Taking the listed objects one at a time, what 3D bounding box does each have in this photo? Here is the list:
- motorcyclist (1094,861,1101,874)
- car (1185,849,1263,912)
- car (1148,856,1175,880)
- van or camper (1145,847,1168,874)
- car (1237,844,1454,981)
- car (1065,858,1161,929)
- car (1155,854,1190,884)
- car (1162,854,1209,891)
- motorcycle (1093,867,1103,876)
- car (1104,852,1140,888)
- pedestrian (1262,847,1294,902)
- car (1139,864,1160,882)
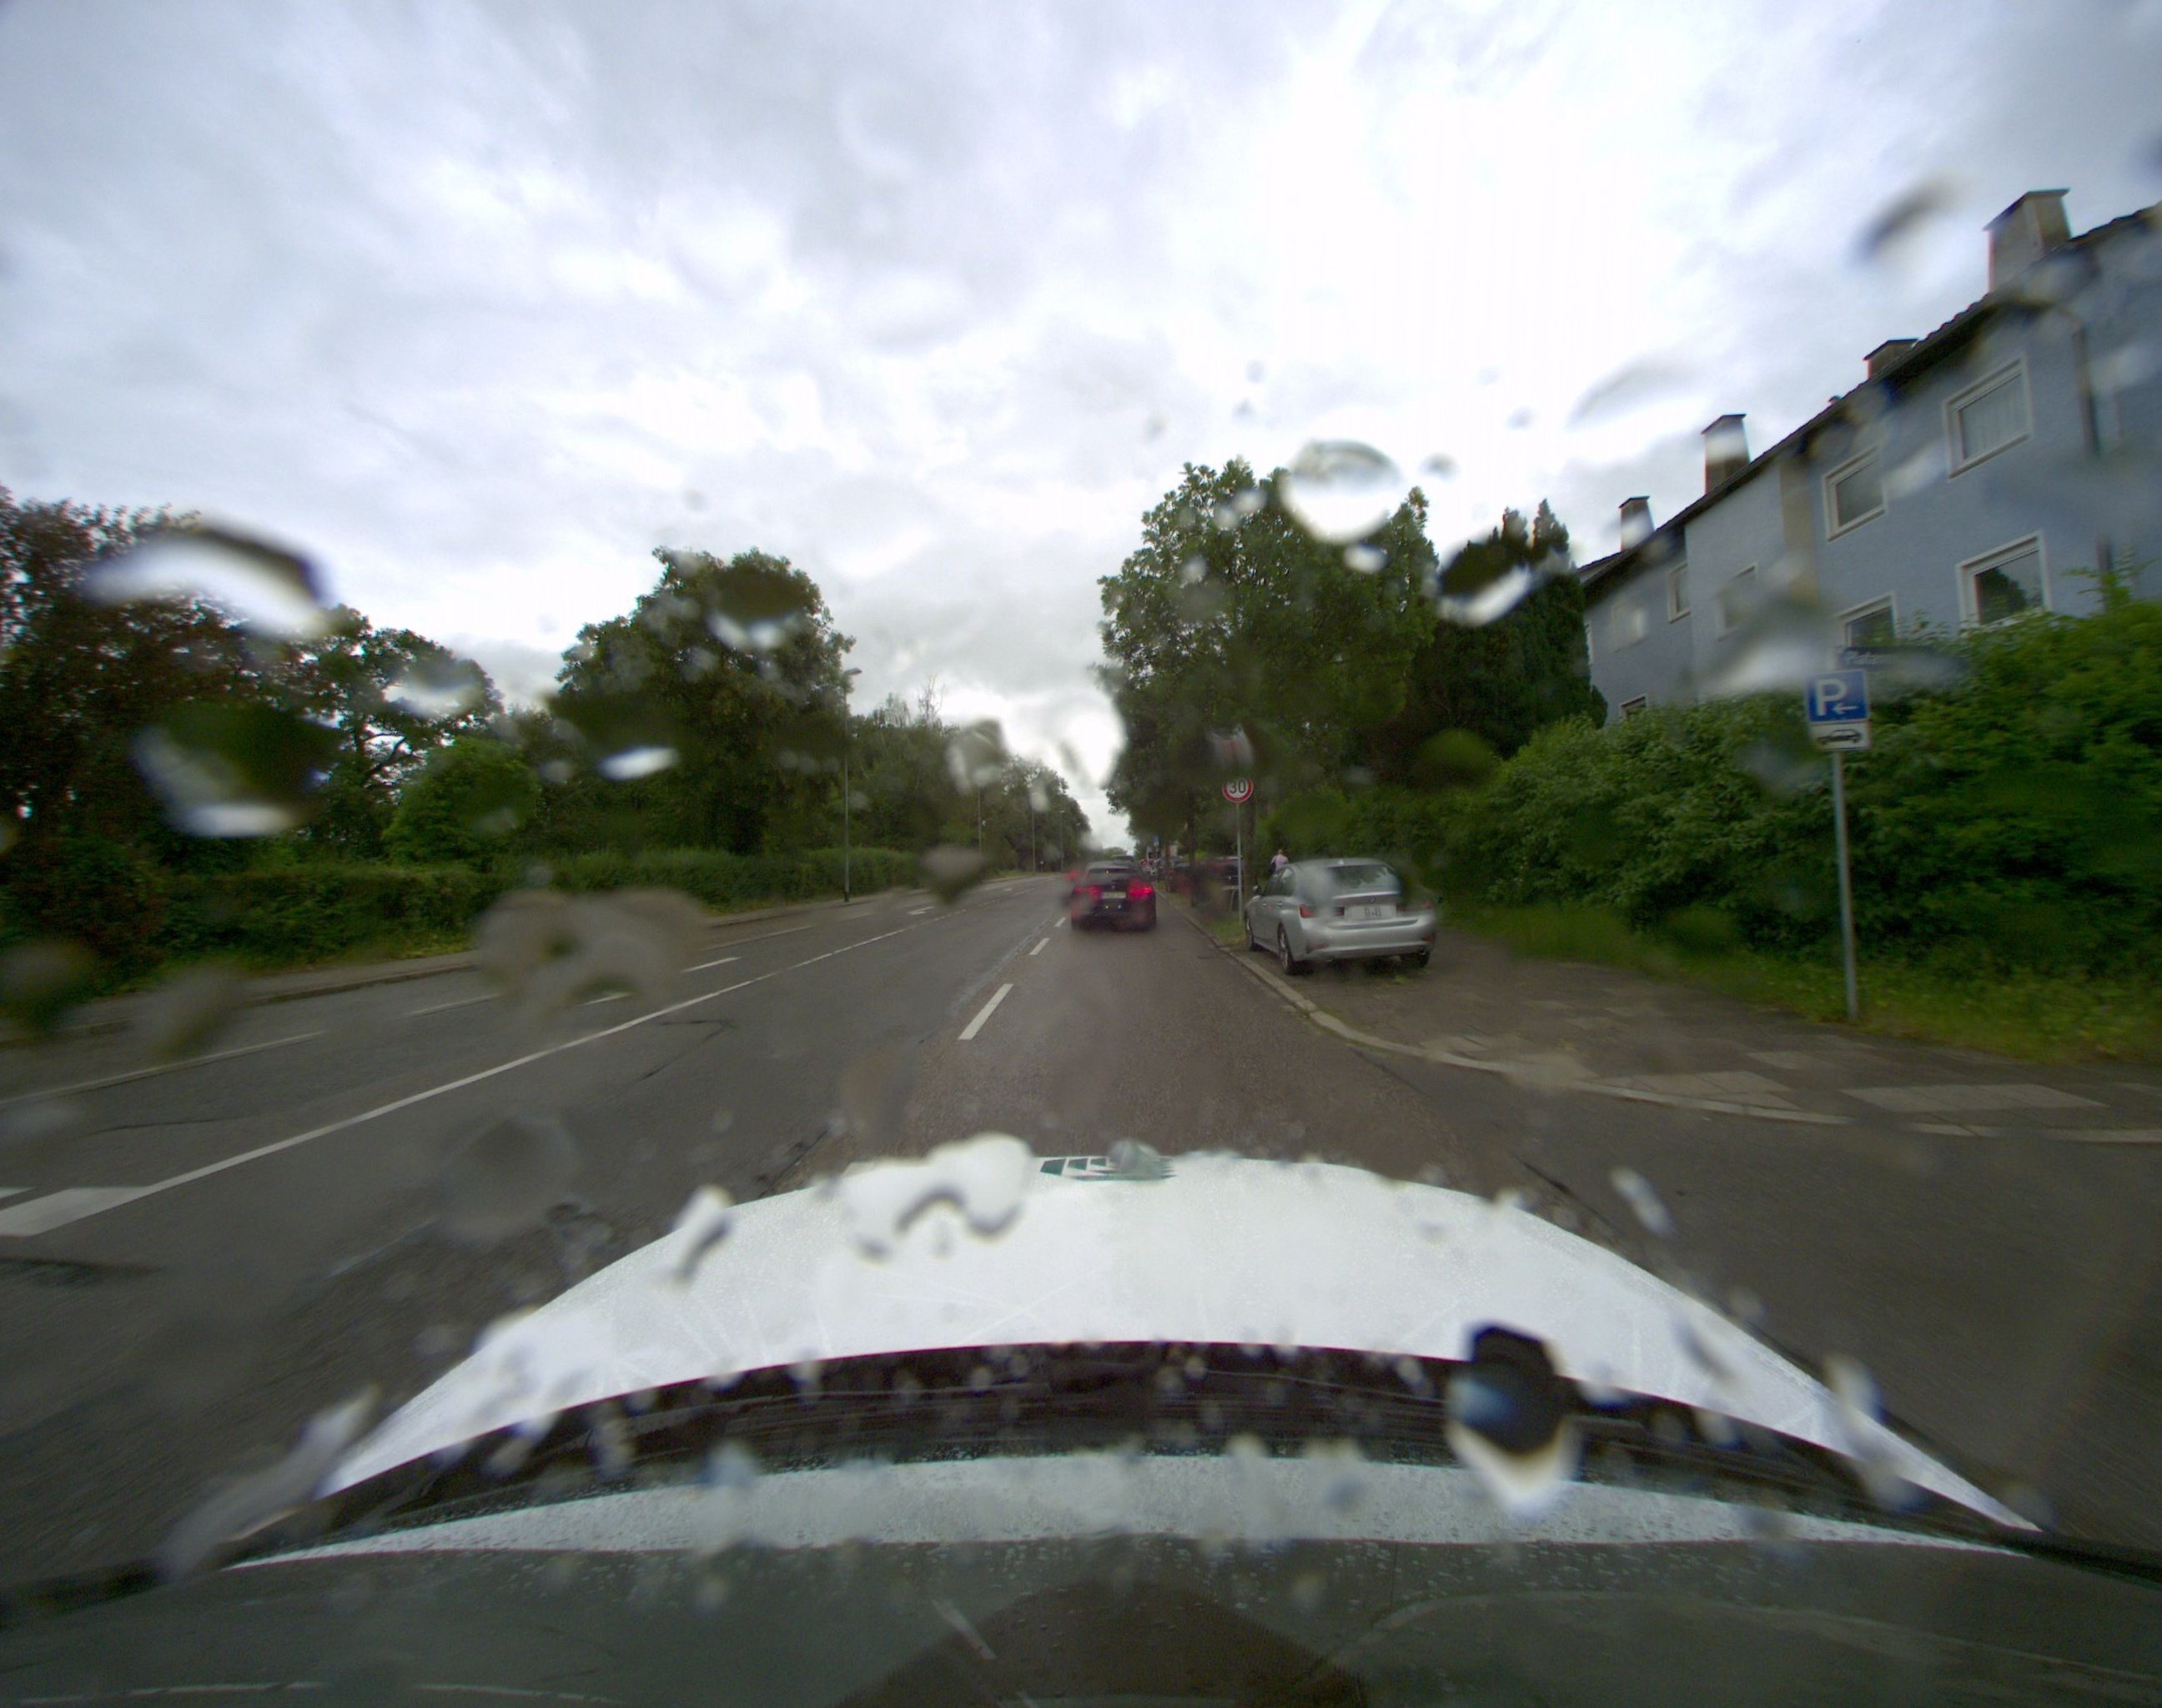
[{"bbox_3d":[2.078,1.676,101.132,0.805,1.681,0.653,-1,-1,12],"label":"motorcyclist"},{"bbox_3d":[4.122,0.724,24.065,1.635,1.595,4.015,-3,0,1],"label":"car"},{"bbox_3d":[6.115,1.010,61.218,1.814,1.603,4.482,-4,-1,7],"label":"car"},{"bbox_3d":[8.139,0.699,88.048,2.187,2.651,7.311,-4,-1,5],"label":"van or camper"},{"bbox_3d":[3.537,0.694,11.849,1.791,1.522,4.594,-3,0,3],"label":"car"},{"bbox_3d":[0.751,0.870,19.131,1.986,1.453,4.002,1,-1,2],"label":"car"},{"bbox_3d":[5.624,0.909,50.580,1.816,1.678,4.588,-4,-1,4],"label":"car"},{"bbox_3d":[4.749,0.824,37.485,1.715,1.512,3.787,-3,0,1],"label":"car"},{"bbox_3d":[2.079,2.168,101.127,0.816,1.118,2.196,-1,-1,13],"label":"motorcycle"},{"bbox_3d":[2.487,0.986,48.947,1.984,2.014,4.005,-1,-1,5],"label":"car"},{"bbox_3d":[6.226,0.643,25.749,0.714,1.680,0.894,-3,-1,-1],"label":"pedestrian"},{"bbox_3d":[6.452,1.737,76.446,1.660,1.528,3.839,-5,-1,7],"label":"car"}]
